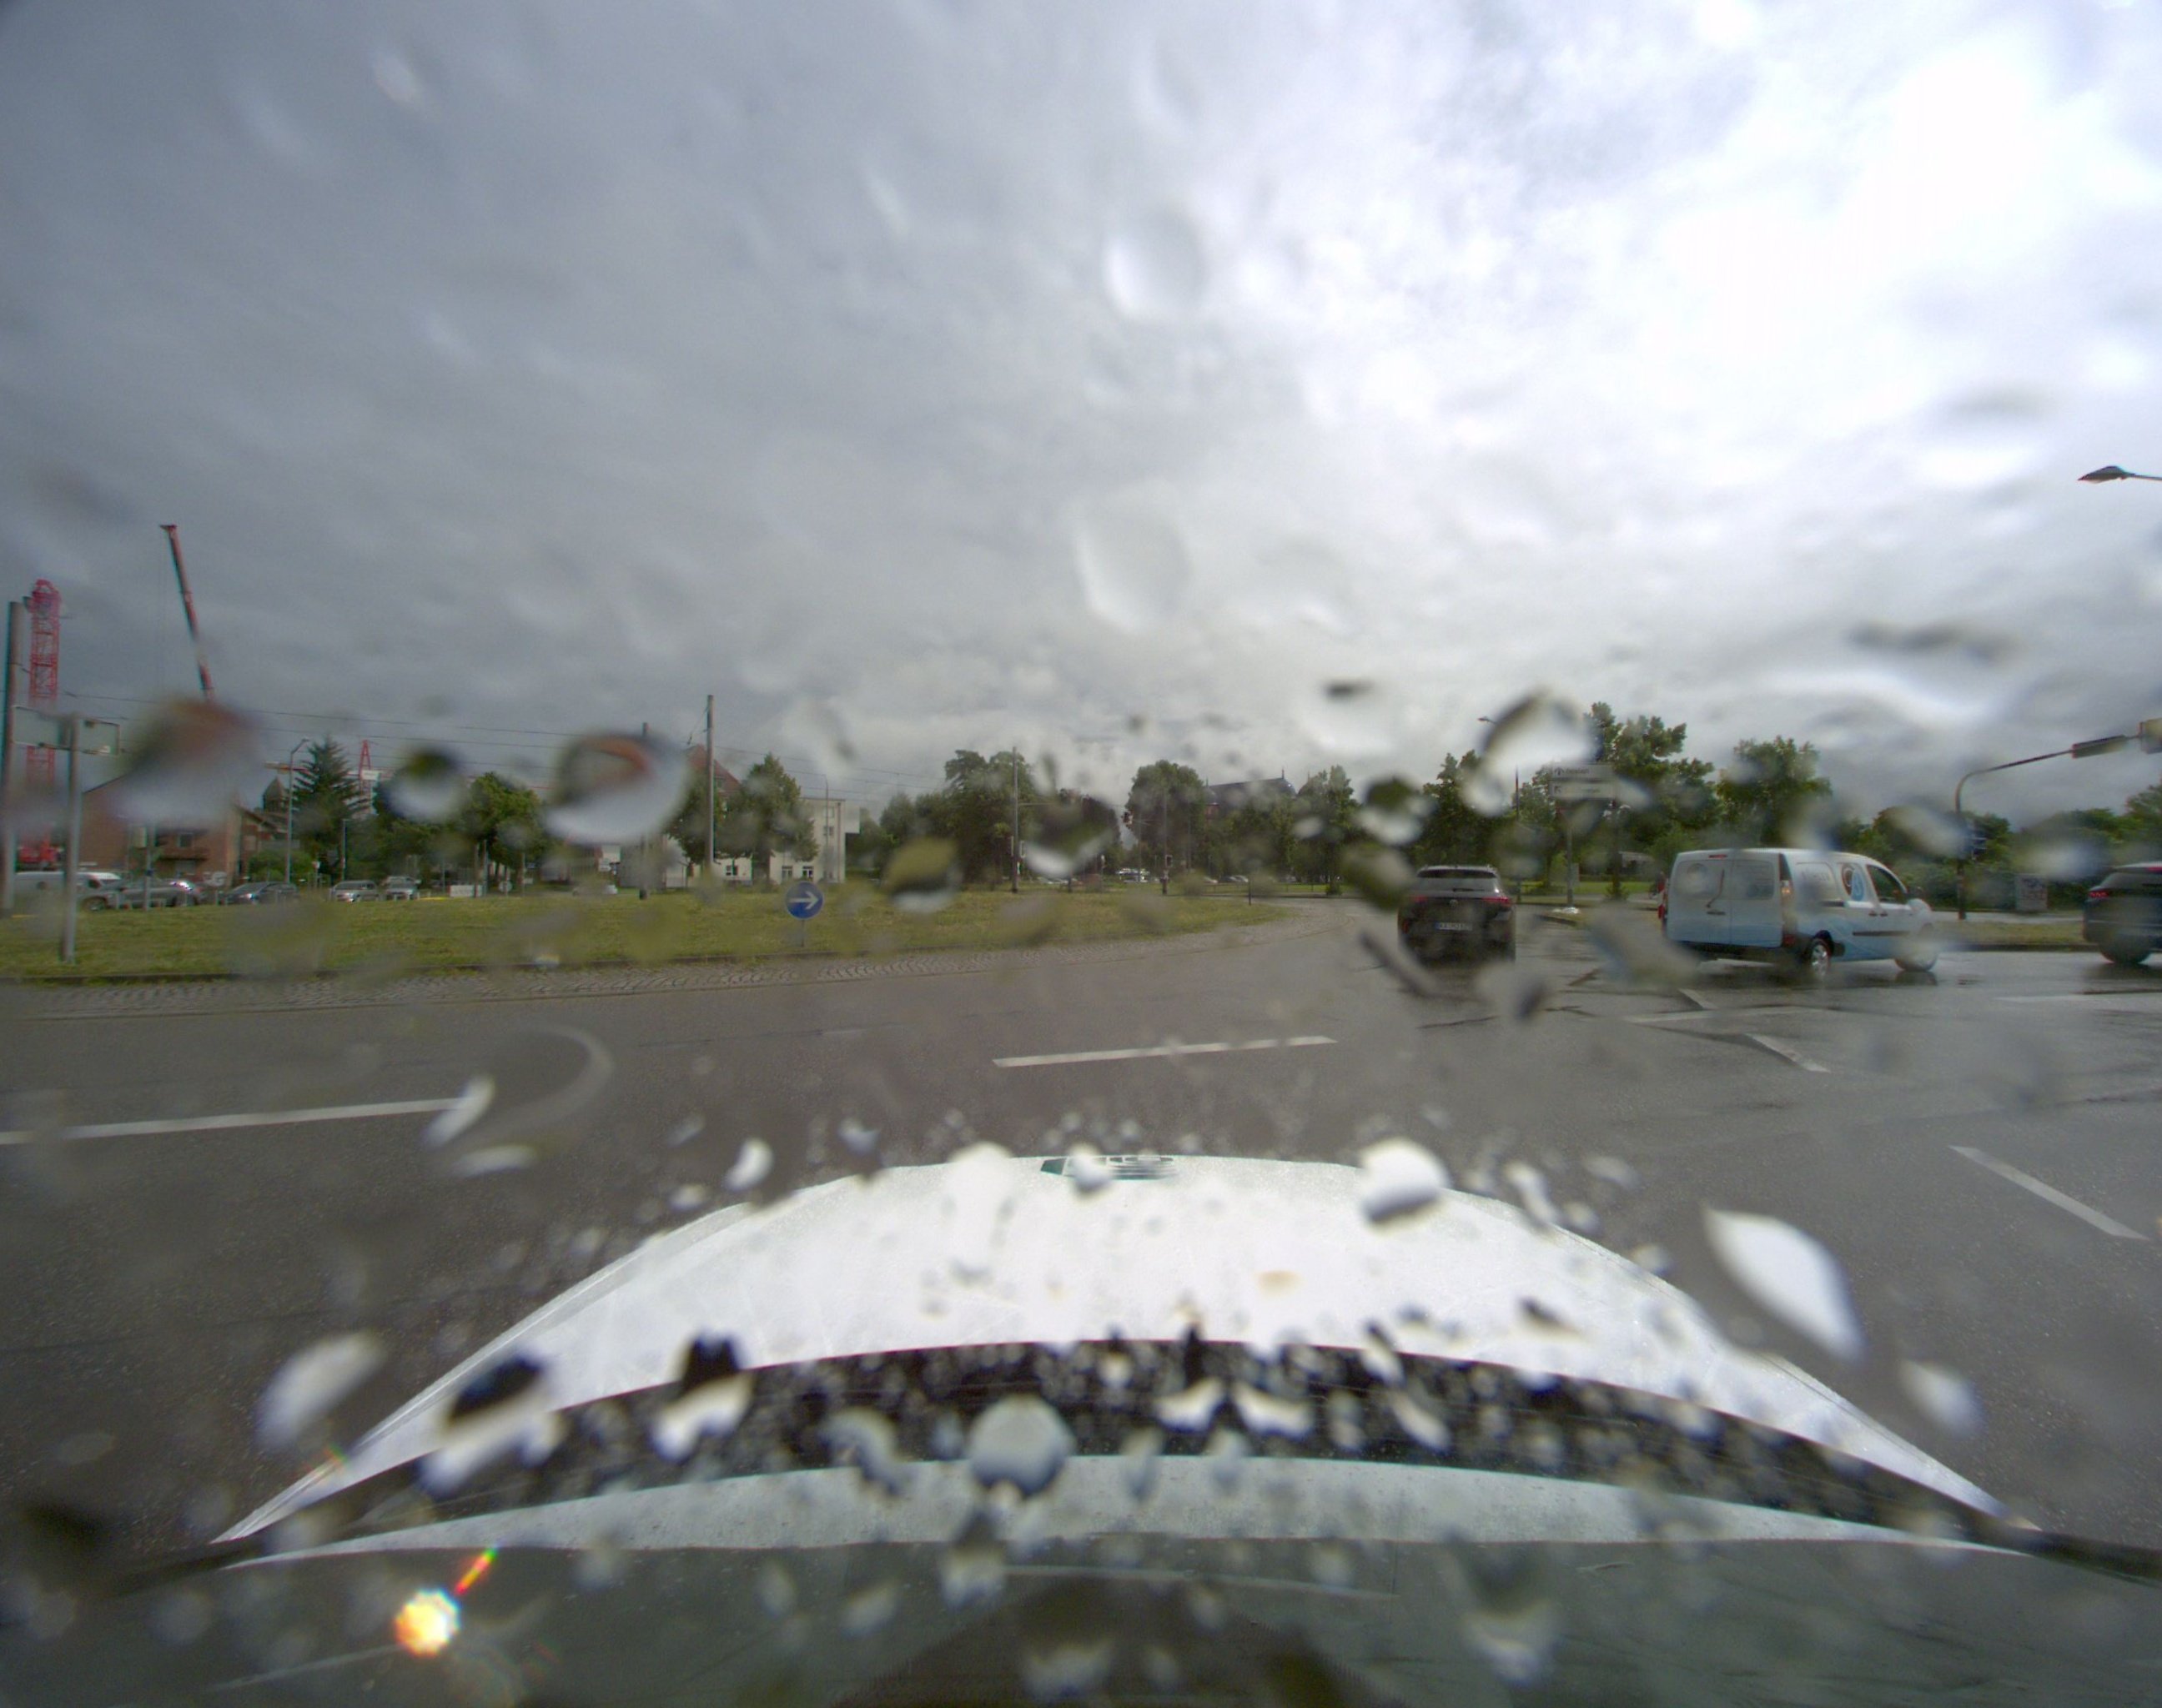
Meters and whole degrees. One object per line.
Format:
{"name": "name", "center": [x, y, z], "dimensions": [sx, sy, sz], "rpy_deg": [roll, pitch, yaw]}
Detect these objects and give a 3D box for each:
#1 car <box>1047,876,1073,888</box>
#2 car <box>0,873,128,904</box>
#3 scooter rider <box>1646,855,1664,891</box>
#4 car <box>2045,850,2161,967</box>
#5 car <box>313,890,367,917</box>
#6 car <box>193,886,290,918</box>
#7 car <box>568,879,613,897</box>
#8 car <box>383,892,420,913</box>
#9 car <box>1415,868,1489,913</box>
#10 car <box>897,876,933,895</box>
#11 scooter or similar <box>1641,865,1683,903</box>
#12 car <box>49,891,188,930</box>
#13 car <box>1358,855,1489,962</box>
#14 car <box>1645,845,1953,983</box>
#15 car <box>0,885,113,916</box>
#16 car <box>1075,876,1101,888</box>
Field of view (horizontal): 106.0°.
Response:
{"name": "car", "center": [-2.781, 3.700, 107.652], "dimensions": [1.653, 1.462, 3.569], "rpy_deg": [1, -2, -39]}
{"name": "car", "center": [-74.973, 2.527, 59.934], "dimensions": [6.247, 2.085, 2.035], "rpy_deg": [2, -3, -11]}
{"name": "scooter rider", "center": [32.331, 1.072, 45.889], "dimensions": [0.697, 2.014, 0.775], "rpy_deg": [0, -3, 27]}
{"name": "car", "center": [18.327, 0.805, 12.730], "dimensions": [4.299, 1.757, 2.040], "rpy_deg": [0, -1, -4]}
{"name": "car", "center": [-47.064, 3.124, 51.804], "dimensions": [1.553, 1.561, 3.470], "rpy_deg": [1, -2, -26]}
{"name": "car", "center": [-46.098, 2.612, 44.854], "dimensions": [1.794, 1.585, 3.981], "rpy_deg": [1, -2, -14]}
{"name": "car", "center": [-41.002, 2.795, 68.072], "dimensions": [3.456, 1.454, 1.559], "rpy_deg": [-1, -1, 26]}
{"name": "car", "center": [-54.159, 3.819, 64.942], "dimensions": [1.604, 1.561, 3.517], "rpy_deg": [1, -2, -29]}
{"name": "car", "center": [13.057, 1.234, 28.870], "dimensions": [1.702, 1.462, 4.016], "rpy_deg": [-1, -1, 15]}
{"name": "car", "center": [-19.220, 3.577, 94.285], "dimensions": [2.123, 2.058, 5.103], "rpy_deg": [0, -1, -37]}
{"name": "scooter or similar", "center": [31.947, 1.678, 44.874], "dimensions": [1.225, 2.014, 3.427], "rpy_deg": [0, -3, 24]}
{"name": "car", "center": [-43.039, 2.485, 36.511], "dimensions": [1.555, 1.561, 3.697], "rpy_deg": [0, -1, 23]}
{"name": "car", "center": [6.175, 0.892, 14.494], "dimensions": [1.880, 1.618, 4.022], "rpy_deg": [0, -2, 26]}
{"name": "car", "center": [10.820, 0.800, 12.245], "dimensions": [4.559, 1.763, 1.852], "rpy_deg": [1, -1, -26]}
{"name": "car", "center": [-59.982, 2.671, 47.505], "dimensions": [1.980, 1.684, 4.012], "rpy_deg": [0, -1, 12]}
{"name": "car", "center": [0.940, 3.811, 111.126], "dimensions": [1.657, 1.510, 3.609], "rpy_deg": [1, -2, -36]}
